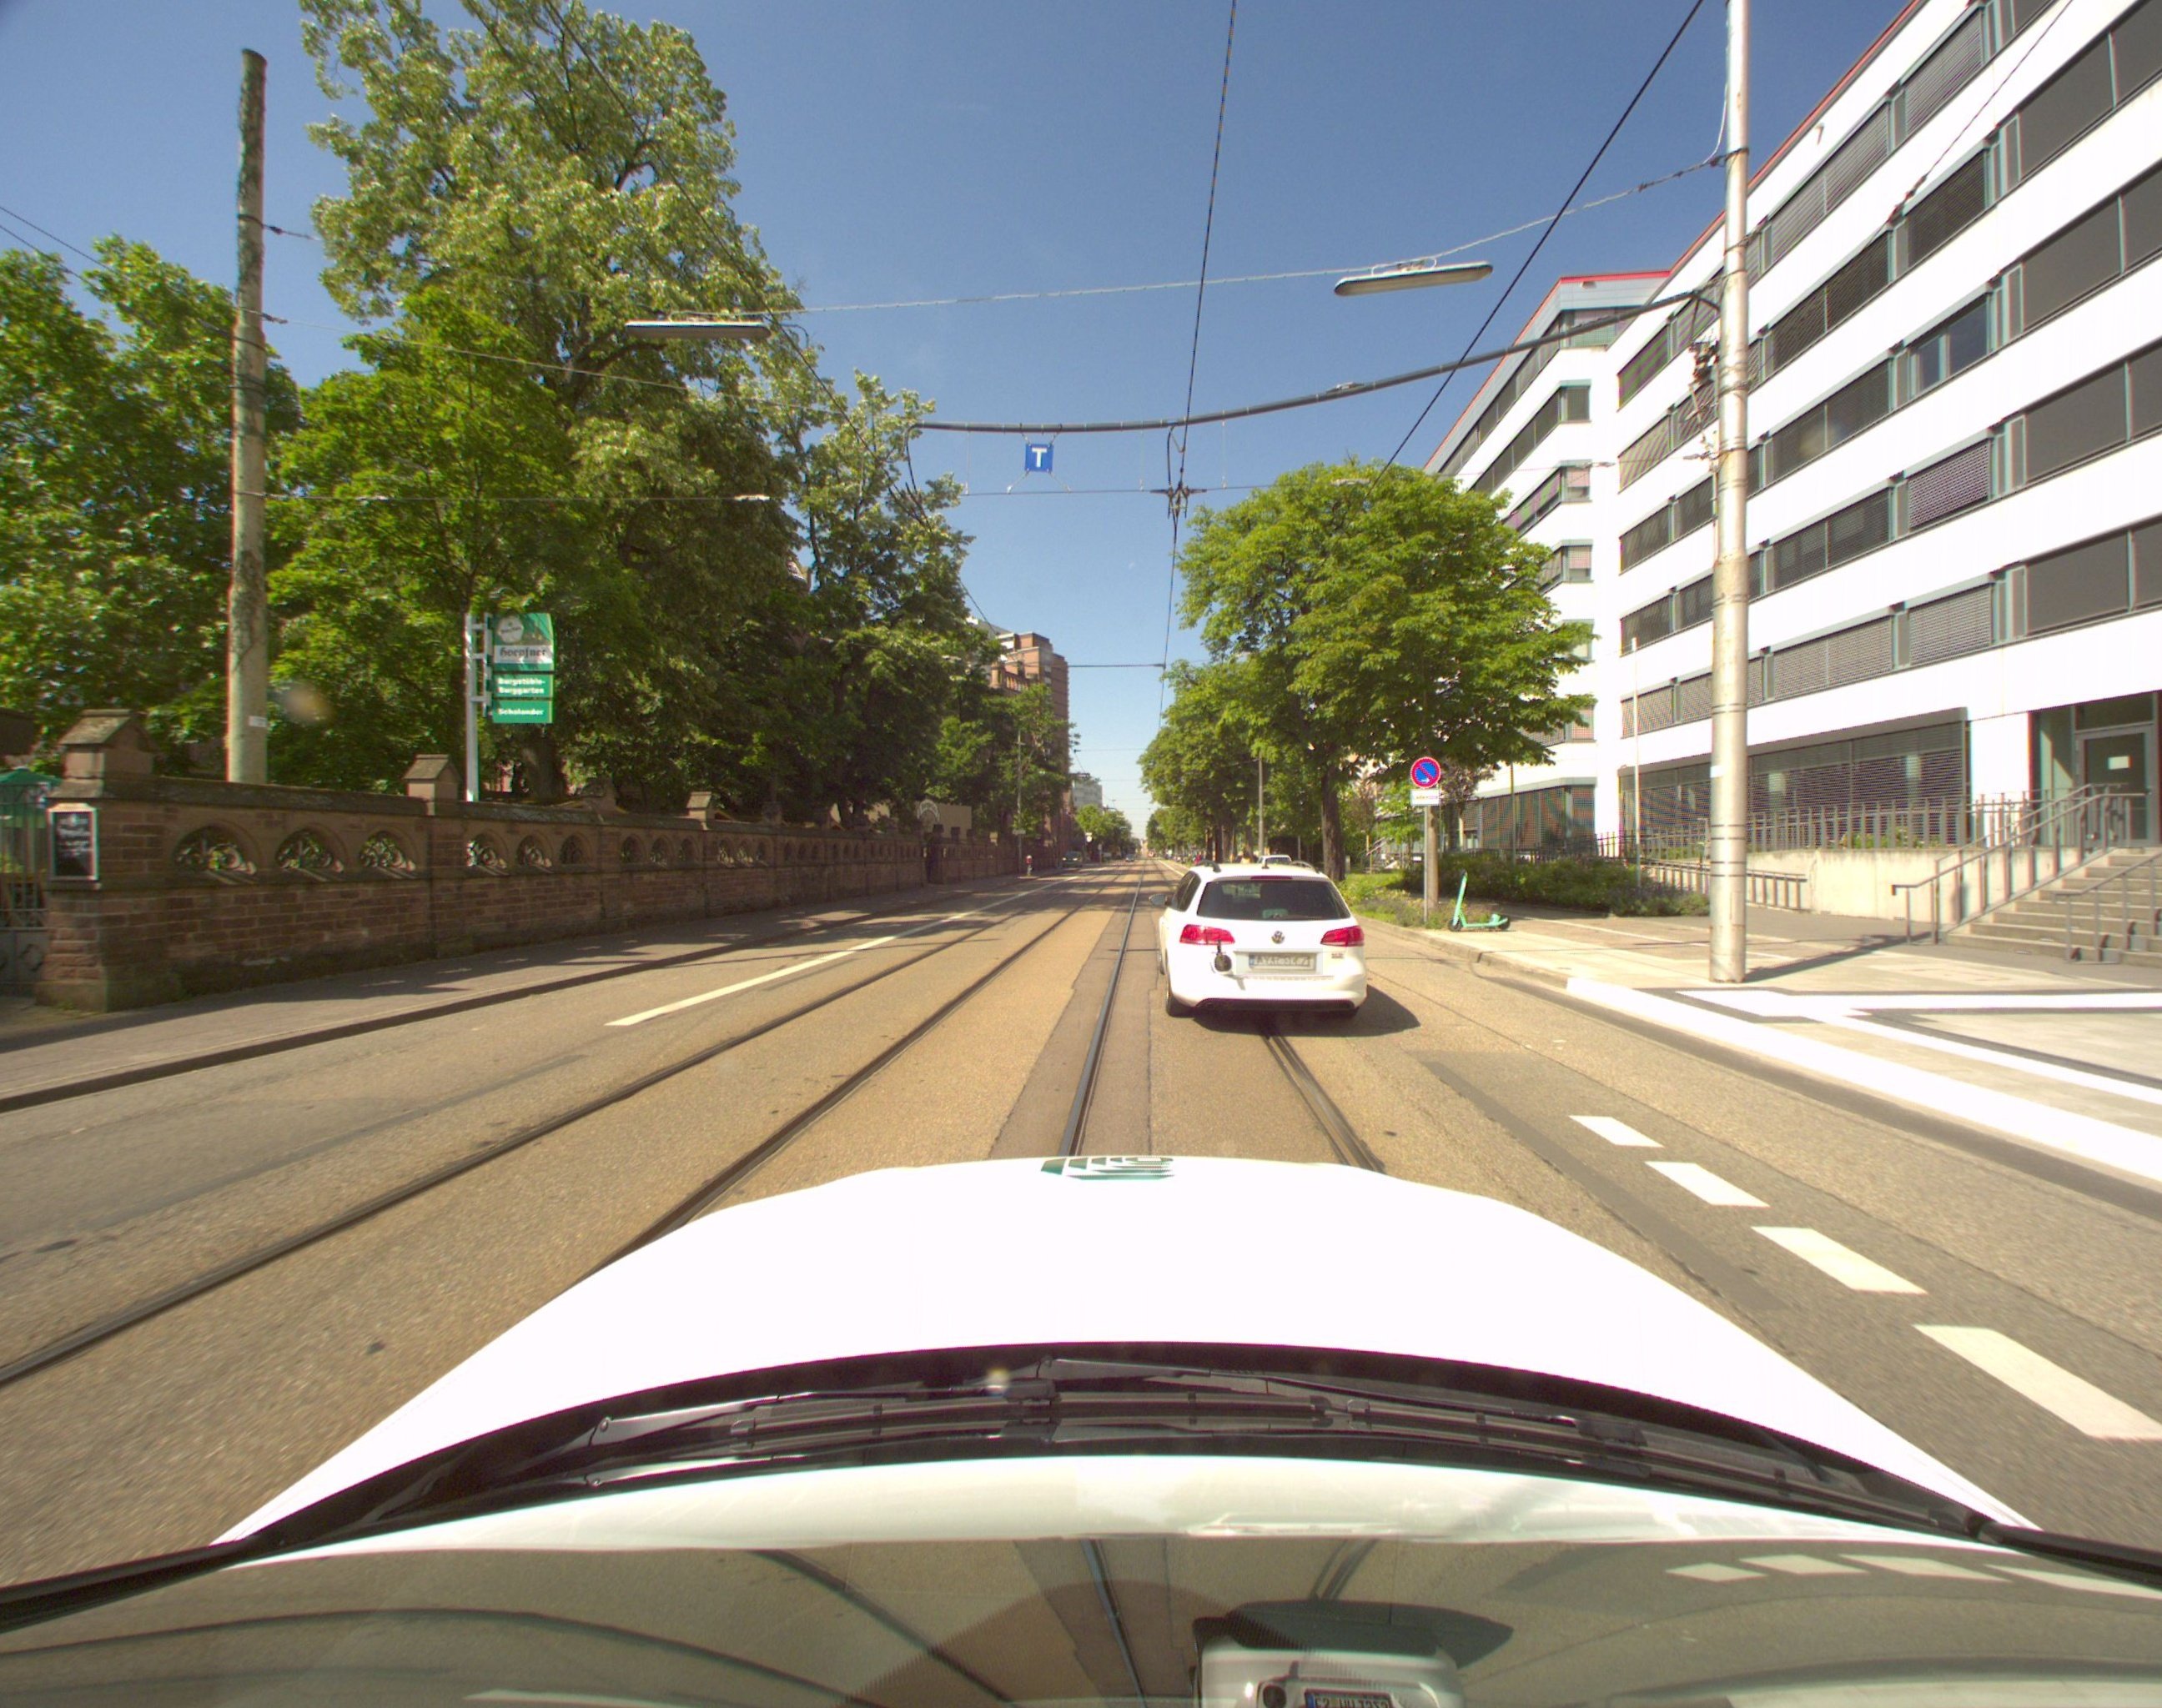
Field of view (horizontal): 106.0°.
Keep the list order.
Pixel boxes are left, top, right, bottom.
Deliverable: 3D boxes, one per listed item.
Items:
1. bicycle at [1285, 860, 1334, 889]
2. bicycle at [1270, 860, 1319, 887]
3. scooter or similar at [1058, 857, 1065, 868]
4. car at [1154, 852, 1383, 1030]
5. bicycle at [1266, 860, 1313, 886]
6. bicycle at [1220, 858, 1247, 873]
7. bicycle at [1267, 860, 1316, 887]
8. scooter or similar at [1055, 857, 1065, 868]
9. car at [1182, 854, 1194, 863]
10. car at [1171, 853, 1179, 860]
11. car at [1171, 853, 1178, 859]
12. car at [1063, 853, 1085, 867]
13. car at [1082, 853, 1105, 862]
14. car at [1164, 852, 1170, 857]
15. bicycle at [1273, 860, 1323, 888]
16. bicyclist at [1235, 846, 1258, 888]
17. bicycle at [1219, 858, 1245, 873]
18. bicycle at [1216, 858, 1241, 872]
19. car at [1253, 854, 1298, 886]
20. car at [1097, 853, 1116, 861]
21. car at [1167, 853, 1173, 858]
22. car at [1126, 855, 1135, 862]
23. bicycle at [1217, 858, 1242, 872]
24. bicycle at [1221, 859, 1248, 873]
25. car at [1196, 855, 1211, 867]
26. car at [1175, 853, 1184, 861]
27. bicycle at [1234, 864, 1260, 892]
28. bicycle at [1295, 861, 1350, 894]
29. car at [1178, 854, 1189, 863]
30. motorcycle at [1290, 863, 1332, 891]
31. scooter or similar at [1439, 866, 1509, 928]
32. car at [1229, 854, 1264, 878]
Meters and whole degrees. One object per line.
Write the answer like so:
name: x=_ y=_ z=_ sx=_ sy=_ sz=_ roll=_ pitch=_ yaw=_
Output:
bicycle: x=9.083 y=0.798 z=32.387 sx=1.767 sy=1.120 sz=0.597 roll=-1 pitch=0 yaw=2
bicycle: x=8.971 y=0.815 z=34.250 sx=1.904 sy=1.083 sz=0.551 roll=2 pitch=0 yaw=2
scooter or similar: x=-2.107 y=0.914 z=87.495 sx=0.419 sy=1.200 sz=1.149 roll=-1 pitch=0 yaw=20
car: x=1.723 y=0.722 z=8.850 sx=1.746 sy=1.442 sz=4.417 roll=-1 pitch=0 yaw=4
bicycle: x=9.071 y=0.836 z=35.502 sx=1.878 sy=1.083 sz=0.551 roll=1 pitch=0 yaw=2
bicycle: x=10.911 y=0.837 z=58.282 sx=1.781 sy=1.010 sz=0.488 roll=-1 pitch=0 yaw=-1
bicycle: x=9.001 y=0.821 z=34.863 sx=1.904 sy=1.083 sz=0.551 roll=2 pitch=0 yaw=2
scooter or similar: x=-2.180 y=0.880 z=83.990 sx=0.400 sy=1.155 sz=1.150 roll=-1 pitch=0 yaw=39
car: x=16.064 y=0.654 z=122.350 sx=1.705 sy=1.401 sz=3.849 roll=-1 pitch=0 yaw=6
car: x=21.420 y=0.562 z=184.899 sx=1.705 sy=1.401 sz=3.849 roll=-1 pitch=0 yaw=6
car: x=22.446 y=0.523 z=196.102 sx=1.705 sy=1.401 sz=3.849 roll=-1 pitch=0 yaw=6
car: x=-0.833 y=0.725 z=100.203 sx=1.983 sy=1.757 sz=4.721 roll=-1 pitch=0 yaw=7
car: x=2.386 y=0.646 z=159.116 sx=4.126 sy=1.530 sz=1.921 roll=1 pitch=0 yaw=-17
car: x=27.481 y=0.157 z=260.089 sx=1.705 sy=1.401 sz=3.849 roll=-1 pitch=0 yaw=6
bicycle: x=8.961 y=0.821 z=33.649 sx=1.904 sy=1.083 sz=0.551 roll=1 pitch=0 yaw=2
bicyclist: x=6.671 y=0.516 z=32.855 sx=0.782 sy=1.629 sz=0.739 roll=-1 pitch=0 yaw=5
bicycle: x=10.916 y=0.832 z=58.867 sx=1.781 sy=1.010 sz=0.488 roll=-1 pitch=0 yaw=-1
bicycle: x=10.972 y=0.817 z=60.662 sx=1.781 sy=1.010 sz=0.488 roll=-1 pitch=0 yaw=-1
car: x=9.346 y=0.722 z=39.421 sx=1.583 sy=1.451 sz=3.952 roll=-1 pitch=0 yaw=5
car: x=5.960 y=0.673 z=192.336 sx=4.013 sy=1.816 sz=1.980 roll=-1 pitch=0 yaw=-31
car: x=24.754 y=0.382 z=226.427 sx=1.705 sy=1.401 sz=3.849 roll=-1 pitch=0 yaw=6
car: x=9.190 y=0.832 z=150.866 sx=1.486 sy=1.384 sz=3.648 roll=-1 pitch=0 yaw=6
bicycle: x=10.966 y=0.822 z=60.141 sx=1.781 sy=1.010 sz=0.488 roll=-1 pitch=0 yaw=-1
bicycle: x=10.888 y=0.841 z=57.704 sx=1.781 sy=1.010 sz=0.488 roll=-1 pitch=0 yaw=-1
car: x=15.092 y=0.902 z=100.384 sx=1.704 sy=1.401 sz=3.850 roll=-1 pitch=0 yaw=7
car: x=19.976 y=0.612 z=165.169 sx=1.705 sy=1.401 sz=3.849 roll=-1 pitch=0 yaw=6
bicycle: x=6.664 y=0.937 z=32.742 sx=0.807 sy=1.078 sz=2.015 roll=0 pitch=0 yaw=5
bicycle: x=8.484 y=0.824 z=28.668 sx=1.767 sy=1.083 sz=0.597 roll=-1 pitch=0 yaw=2
car: x=17.590 y=0.747 z=140.252 sx=1.705 sy=1.401 sz=3.848 roll=-1 pitch=0 yaw=4
motorcycle: x=8.696 y=0.867 z=30.813 sx=1.460 sy=1.046 sz=0.535 roll=-1 pitch=0 yaw=2
scooter or similar: x=7.583 y=0.820 z=15.738 sx=1.135 sy=1.154 sz=0.494 roll=0 pitch=0 yaw=10
car: x=10.419 y=0.735 z=51.399 sx=1.656 sy=1.444 sz=4.640 roll=-1 pitch=0 yaw=5
